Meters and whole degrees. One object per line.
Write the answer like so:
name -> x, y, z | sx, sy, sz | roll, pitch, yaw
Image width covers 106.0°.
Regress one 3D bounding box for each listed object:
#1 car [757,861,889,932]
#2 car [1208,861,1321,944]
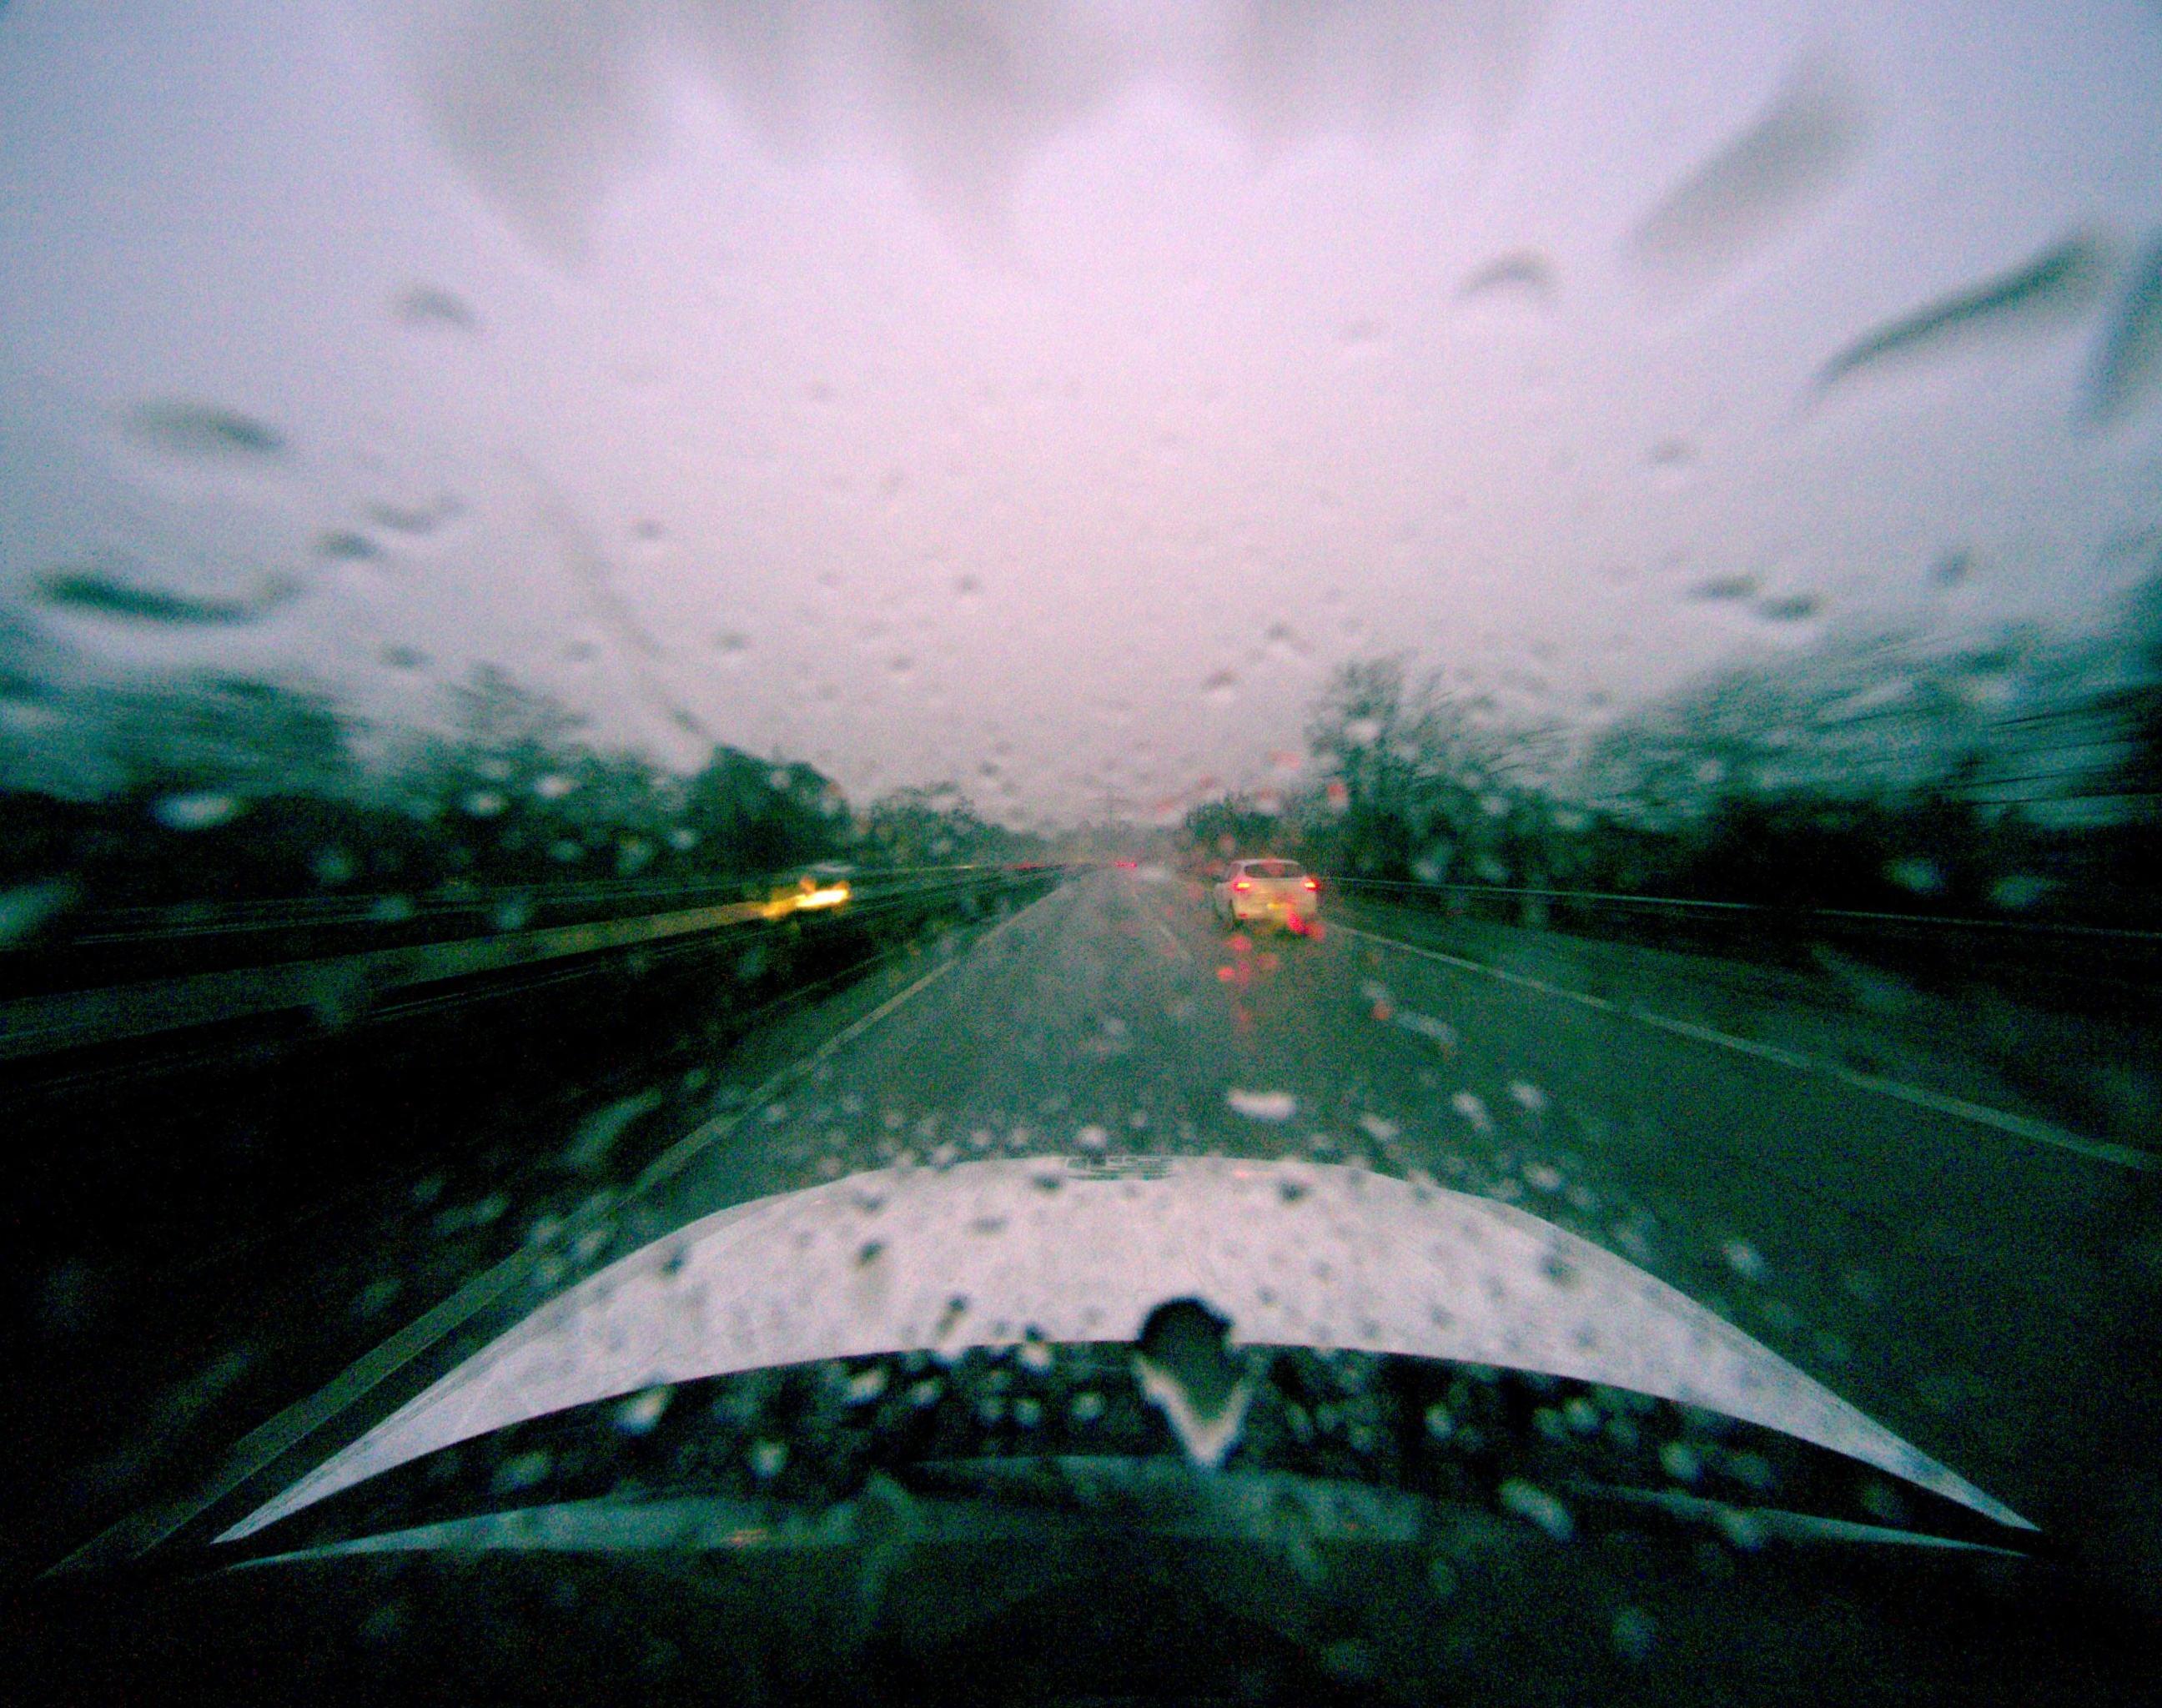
car -> -7.414, 1.153, 24.004 | 2.156, 1.791, 4.811 | -1, 0, 2
car -> 4.068, 1.029, 18.638 | 1.838, 1.636, 3.770 | -2, -1, 3
